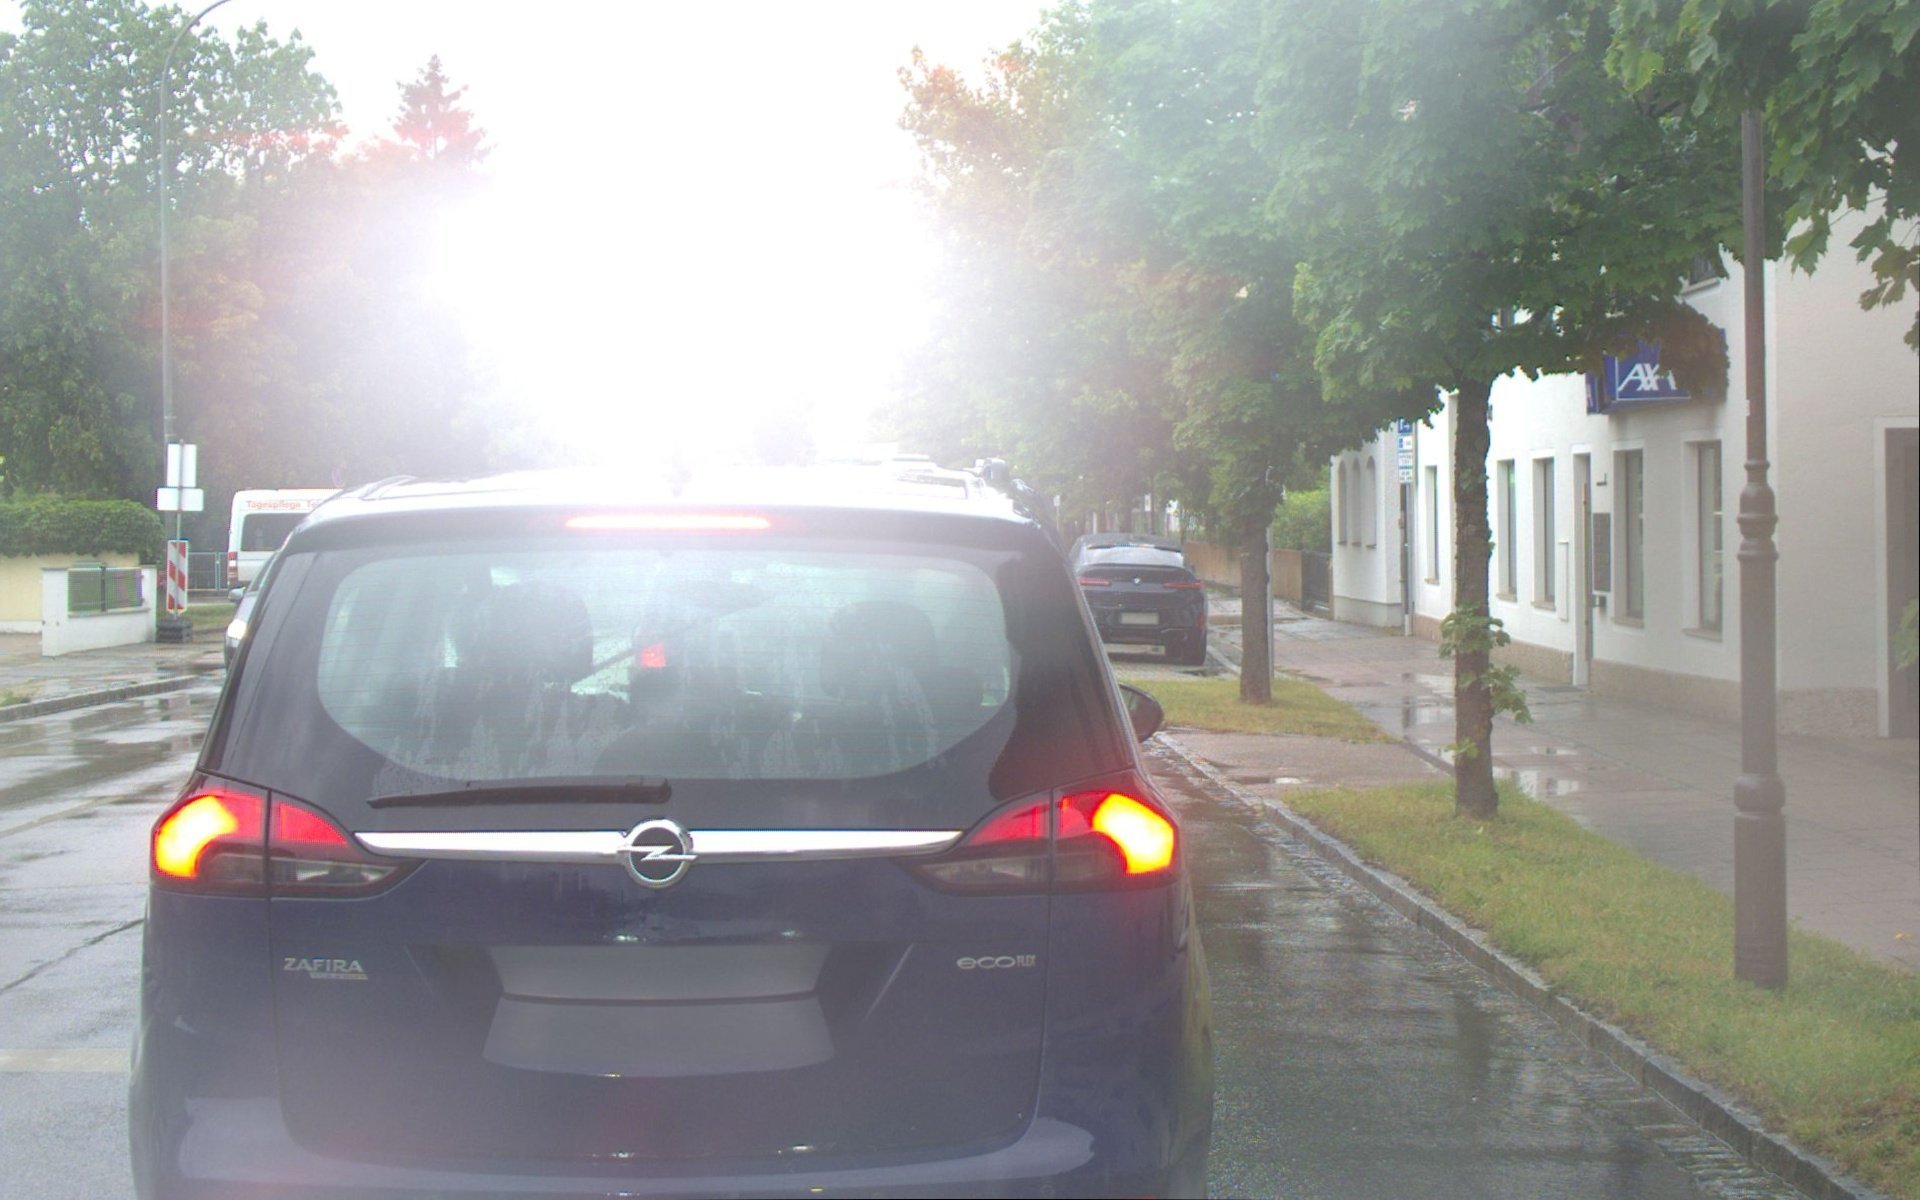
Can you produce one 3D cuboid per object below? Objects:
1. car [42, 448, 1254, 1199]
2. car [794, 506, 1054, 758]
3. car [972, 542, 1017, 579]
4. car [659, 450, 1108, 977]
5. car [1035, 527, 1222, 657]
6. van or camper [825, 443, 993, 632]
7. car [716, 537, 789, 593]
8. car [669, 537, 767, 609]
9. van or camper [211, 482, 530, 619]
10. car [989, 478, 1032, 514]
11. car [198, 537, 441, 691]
[{"bbox_3d":[-0.485,0.555,6.905,1.768,1.599,3.663,1,1,-1],"label":"car"},{"bbox_3d":[-0.262,0.183,25.274,1.756,1.700,3.619,-1,1,-1],"label":"car"},{"bbox_3d":[1.335,-1.531,132.918,1.630,1.373,3.623,1,0,-1],"label":"car"},{"bbox_3d":[-0.278,0.358,13.265,1.500,1.770,3.112,1,1,-1],"label":"car"},{"bbox_3d":[2.132,-0.124,44.666,2.117,1.575,3.936,1,1,-1],"label":"car"},{"bbox_3d":[-0.753,-0.942,51.381,2.360,2.656,5.372,-1,1,-1],"label":"van or camper"},{"bbox_3d":[-5.950,-1.024,99.099,1.926,1.561,4.126,-1,1,-1],"label":"car"},{"bbox_3d":[-5.547,-0.634,79.194,1.967,1.557,4.152,-1,1,-1],"label":"car"},{"bbox_3d":[-11.923,-1.019,69.887,6.246,2.698,2.101,-1,1,-6],"label":"van or camper"},{"bbox_3d":[2.094,-4.312,142.797,1.630,1.373,3.623,-1,1,-1],"label":"car"},{"bbox_3d":[-6.860,0.108,37.181,1.915,1.528,3.899,-1,1,-1],"label":"car"}]
